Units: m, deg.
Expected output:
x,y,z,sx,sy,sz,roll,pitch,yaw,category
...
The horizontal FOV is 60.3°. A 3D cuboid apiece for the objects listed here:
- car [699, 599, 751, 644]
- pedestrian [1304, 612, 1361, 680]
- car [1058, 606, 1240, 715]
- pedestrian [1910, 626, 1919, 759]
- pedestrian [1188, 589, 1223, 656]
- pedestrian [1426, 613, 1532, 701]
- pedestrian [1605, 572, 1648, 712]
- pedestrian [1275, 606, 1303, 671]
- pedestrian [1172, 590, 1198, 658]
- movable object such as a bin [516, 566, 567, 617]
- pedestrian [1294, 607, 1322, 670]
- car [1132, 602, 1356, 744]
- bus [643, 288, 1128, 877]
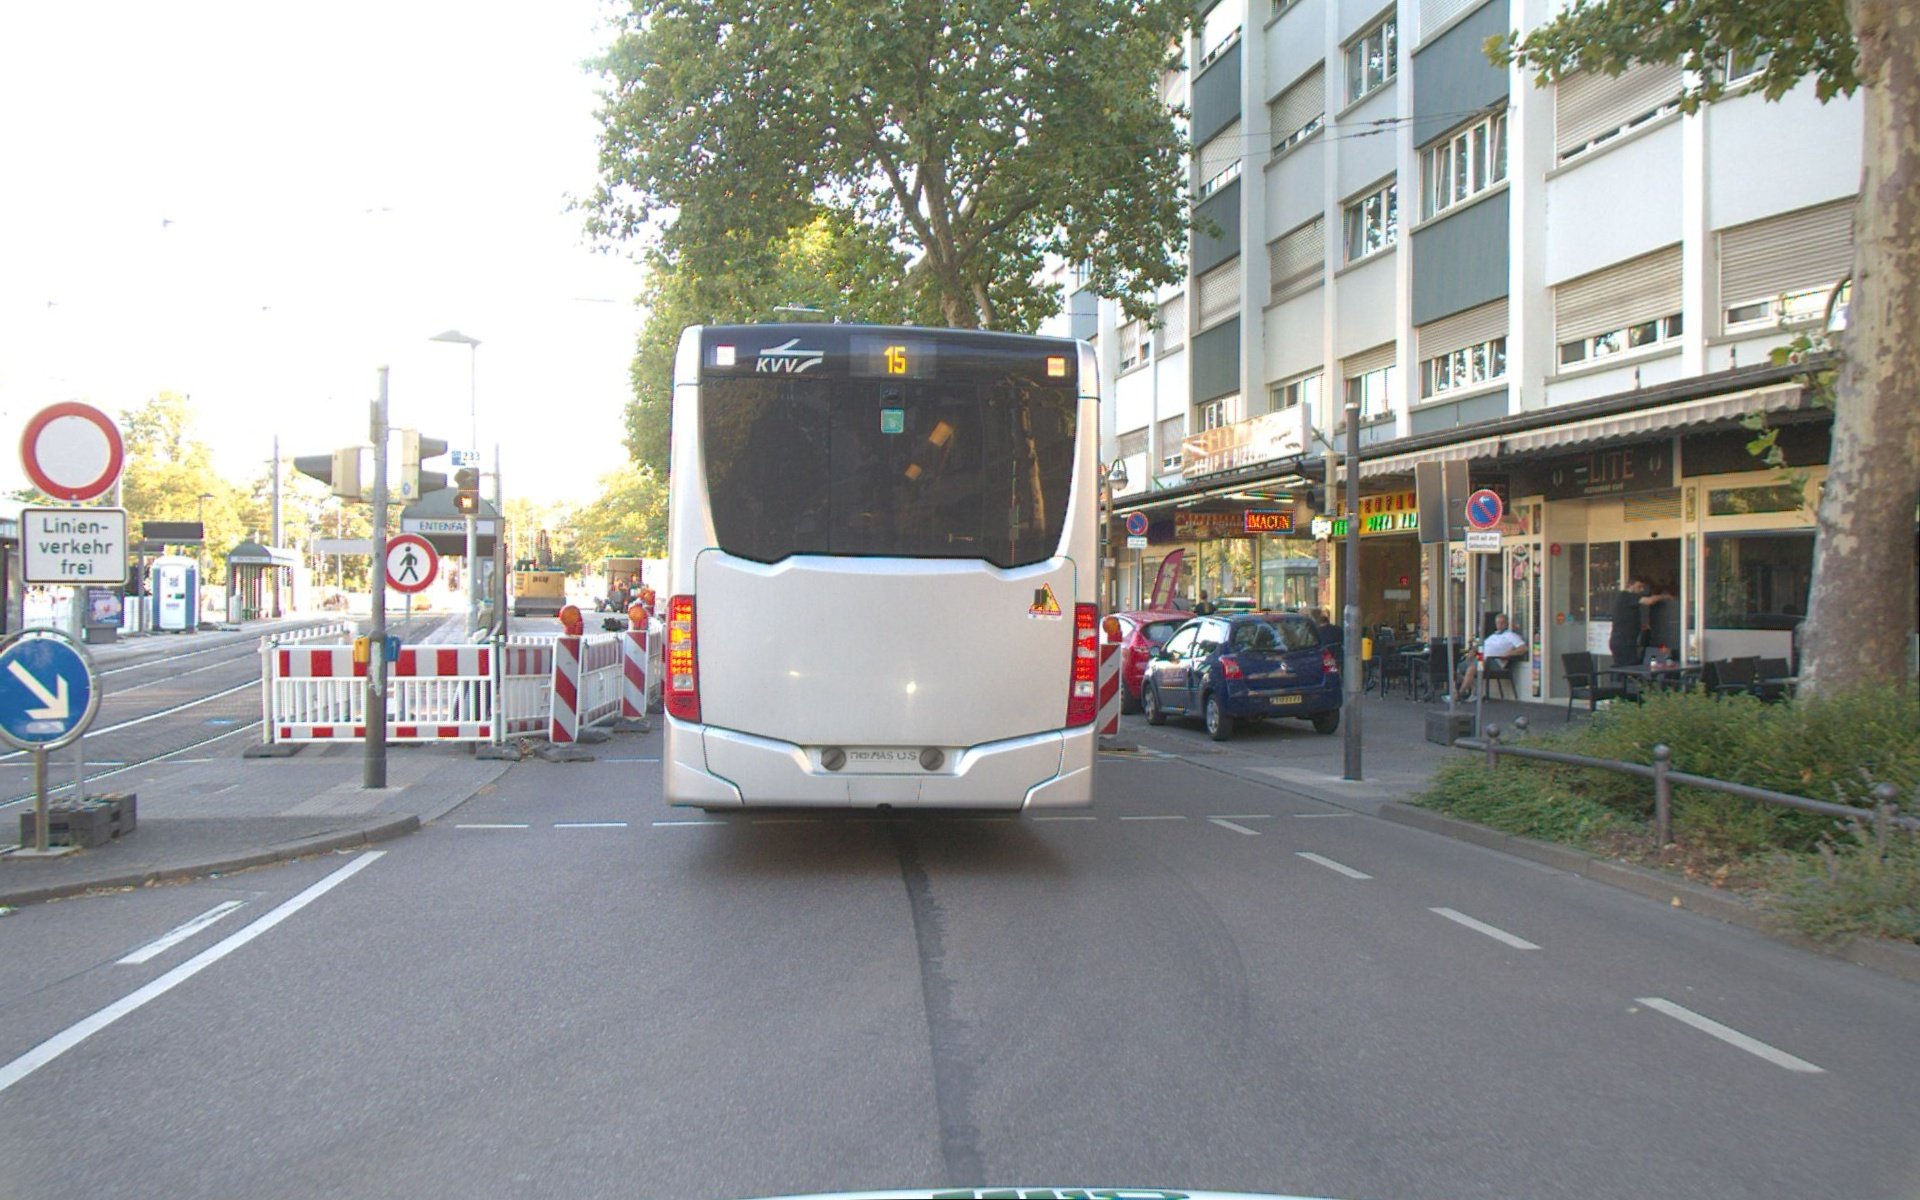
x,y,z,sx,sy,sz,roll,pitch,yaw,category
-8.178,0.733,57.772,1.722,1.489,3.994,0,0,-7,car
6.302,0.771,28.005,0.692,1.128,0.764,0,0,-11,pedestrian
2.791,0.861,25.122,1.634,1.419,3.400,-3,1,-14,car
9.375,0.886,15.734,0.394,1.259,0.447,0,0,-28,pedestrian
4.733,0.432,31.879,0.581,1.278,0.392,0,0,-10,pedestrian
7.460,0.808,23.799,1.157,1.218,0.923,0,0,-11,pedestrian
8.402,0.522,20.857,0.350,1.748,0.309,2,0,-4,pedestrian
6.124,0.710,30.782,0.384,1.195,0.387,0,0,-13,pedestrian
4.279,0.449,31.454,0.380,1.278,0.391,0,0,-12,pedestrian
-21.607,-0.432,85.567,2.451,2.520,5.337,0,0,-13,movable object such as a bin
6.375,0.699,30.287,0.380,1.141,0.391,0,0,-12,pedestrian
3.531,0.851,21.128,1.633,1.543,3.402,-3,1,-12,car
-0.854,-0.066,14.064,2.606,3.153,10.204,1,0,-5,bus
